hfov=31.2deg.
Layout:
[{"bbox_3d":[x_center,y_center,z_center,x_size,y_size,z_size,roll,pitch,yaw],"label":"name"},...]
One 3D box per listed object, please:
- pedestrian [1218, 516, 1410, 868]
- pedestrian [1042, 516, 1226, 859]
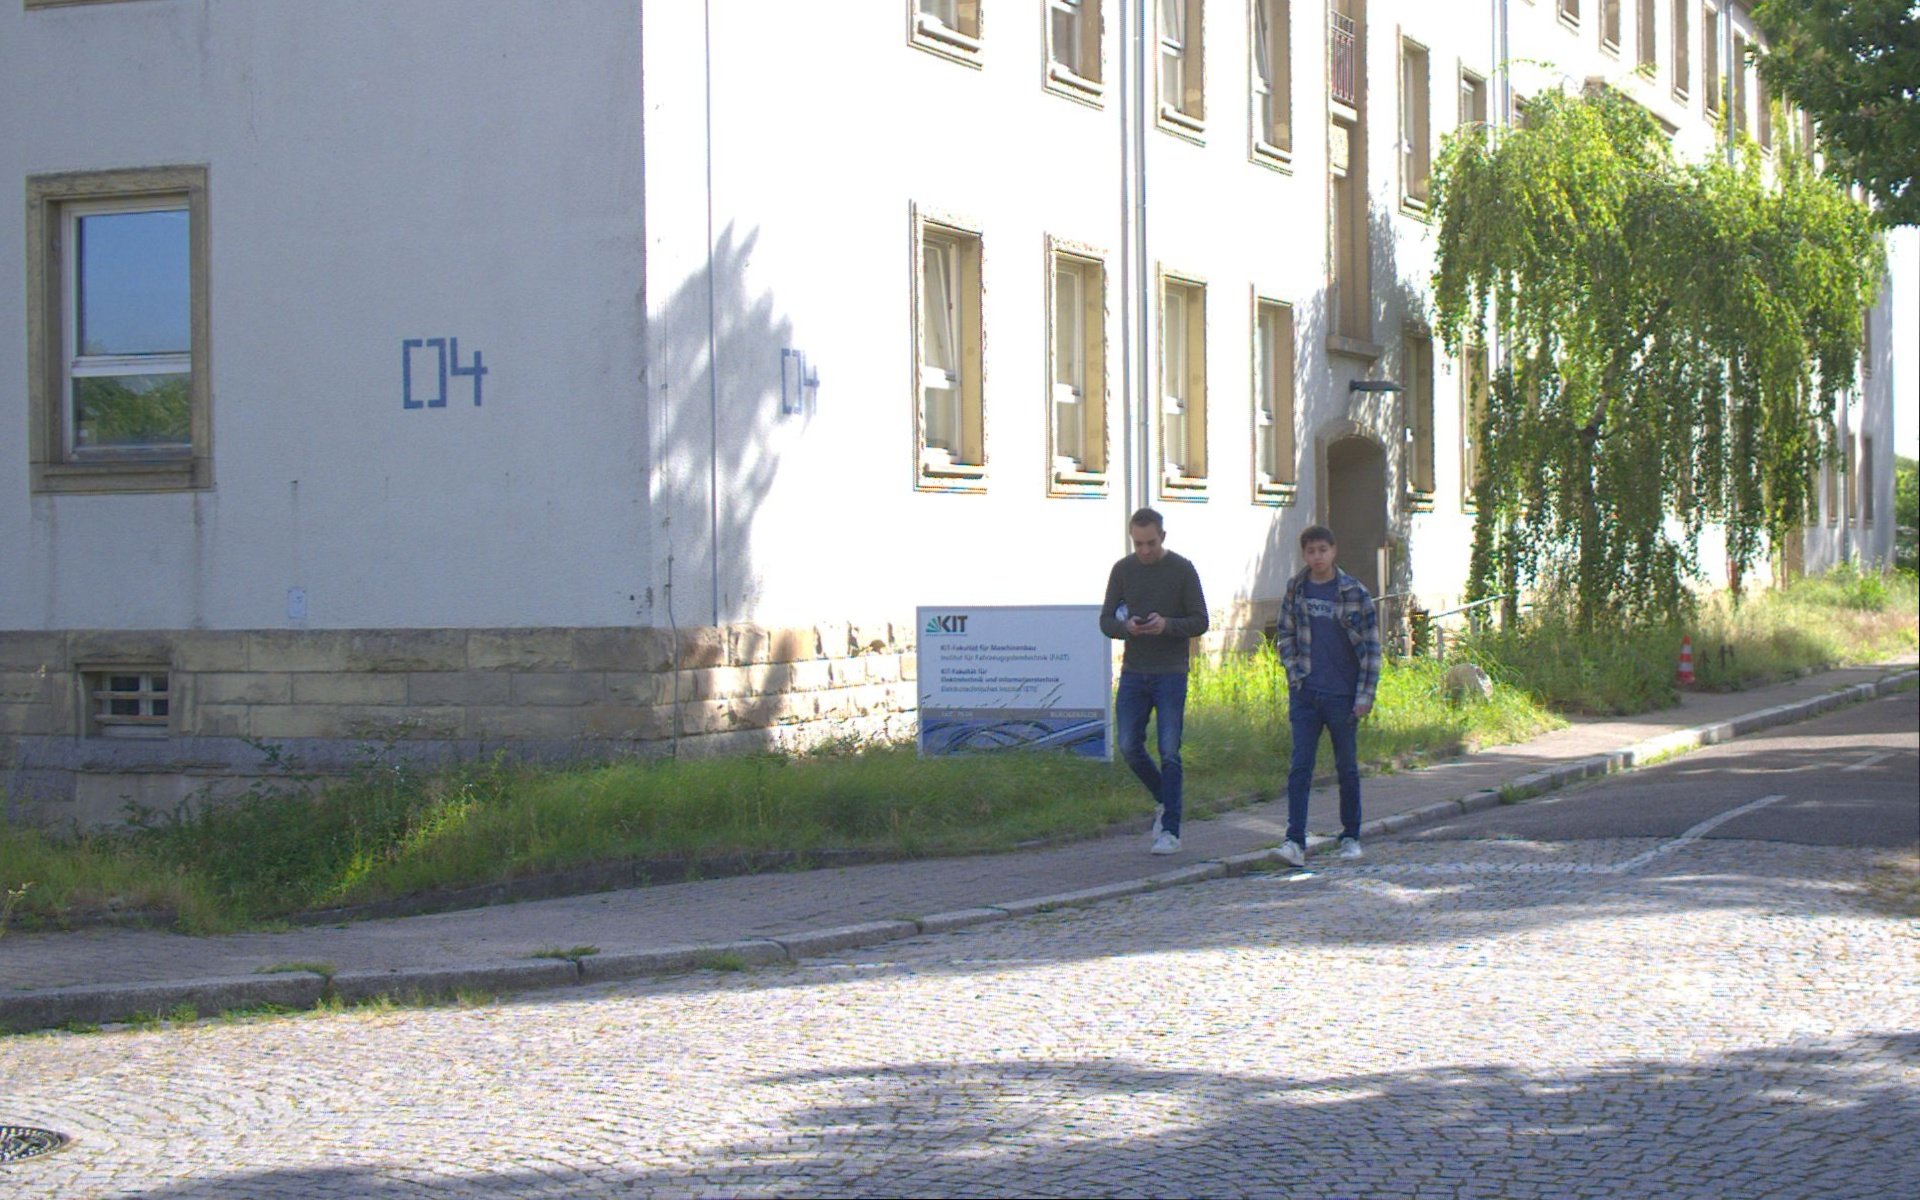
[{"bbox_3d":[1.868,0.467,18.139,0.768,1.811,0.681,0,1,33],"label":"pedestrian"},{"bbox_3d":[0.944,0.460,18.612,0.813,1.811,0.554,0,1,33],"label":"pedestrian"}]
